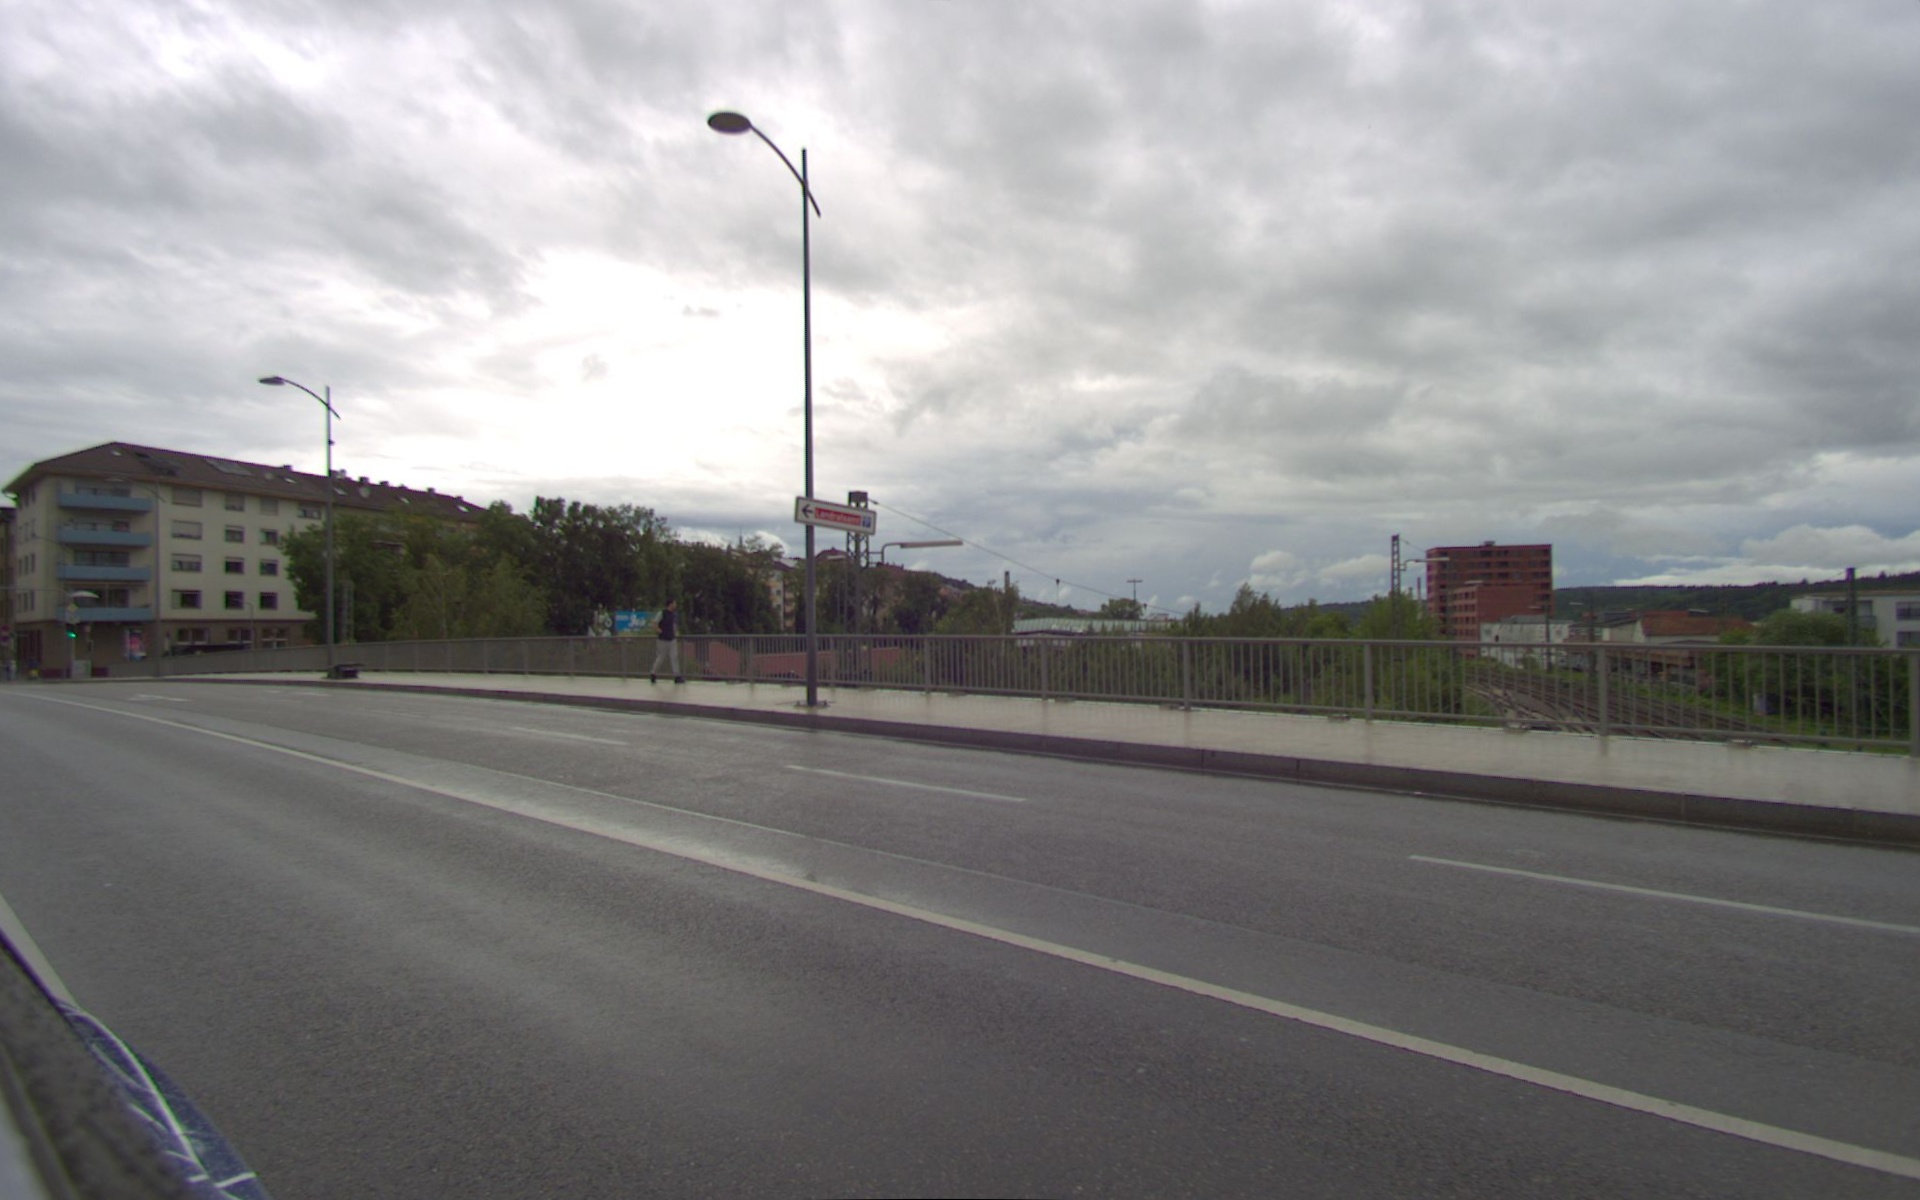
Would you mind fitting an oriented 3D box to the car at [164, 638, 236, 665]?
[{"bbox_3d":[-62.884,4.223,83.817,2.119,2.029,4.326,-2,-1,20],"label":"car"}]
